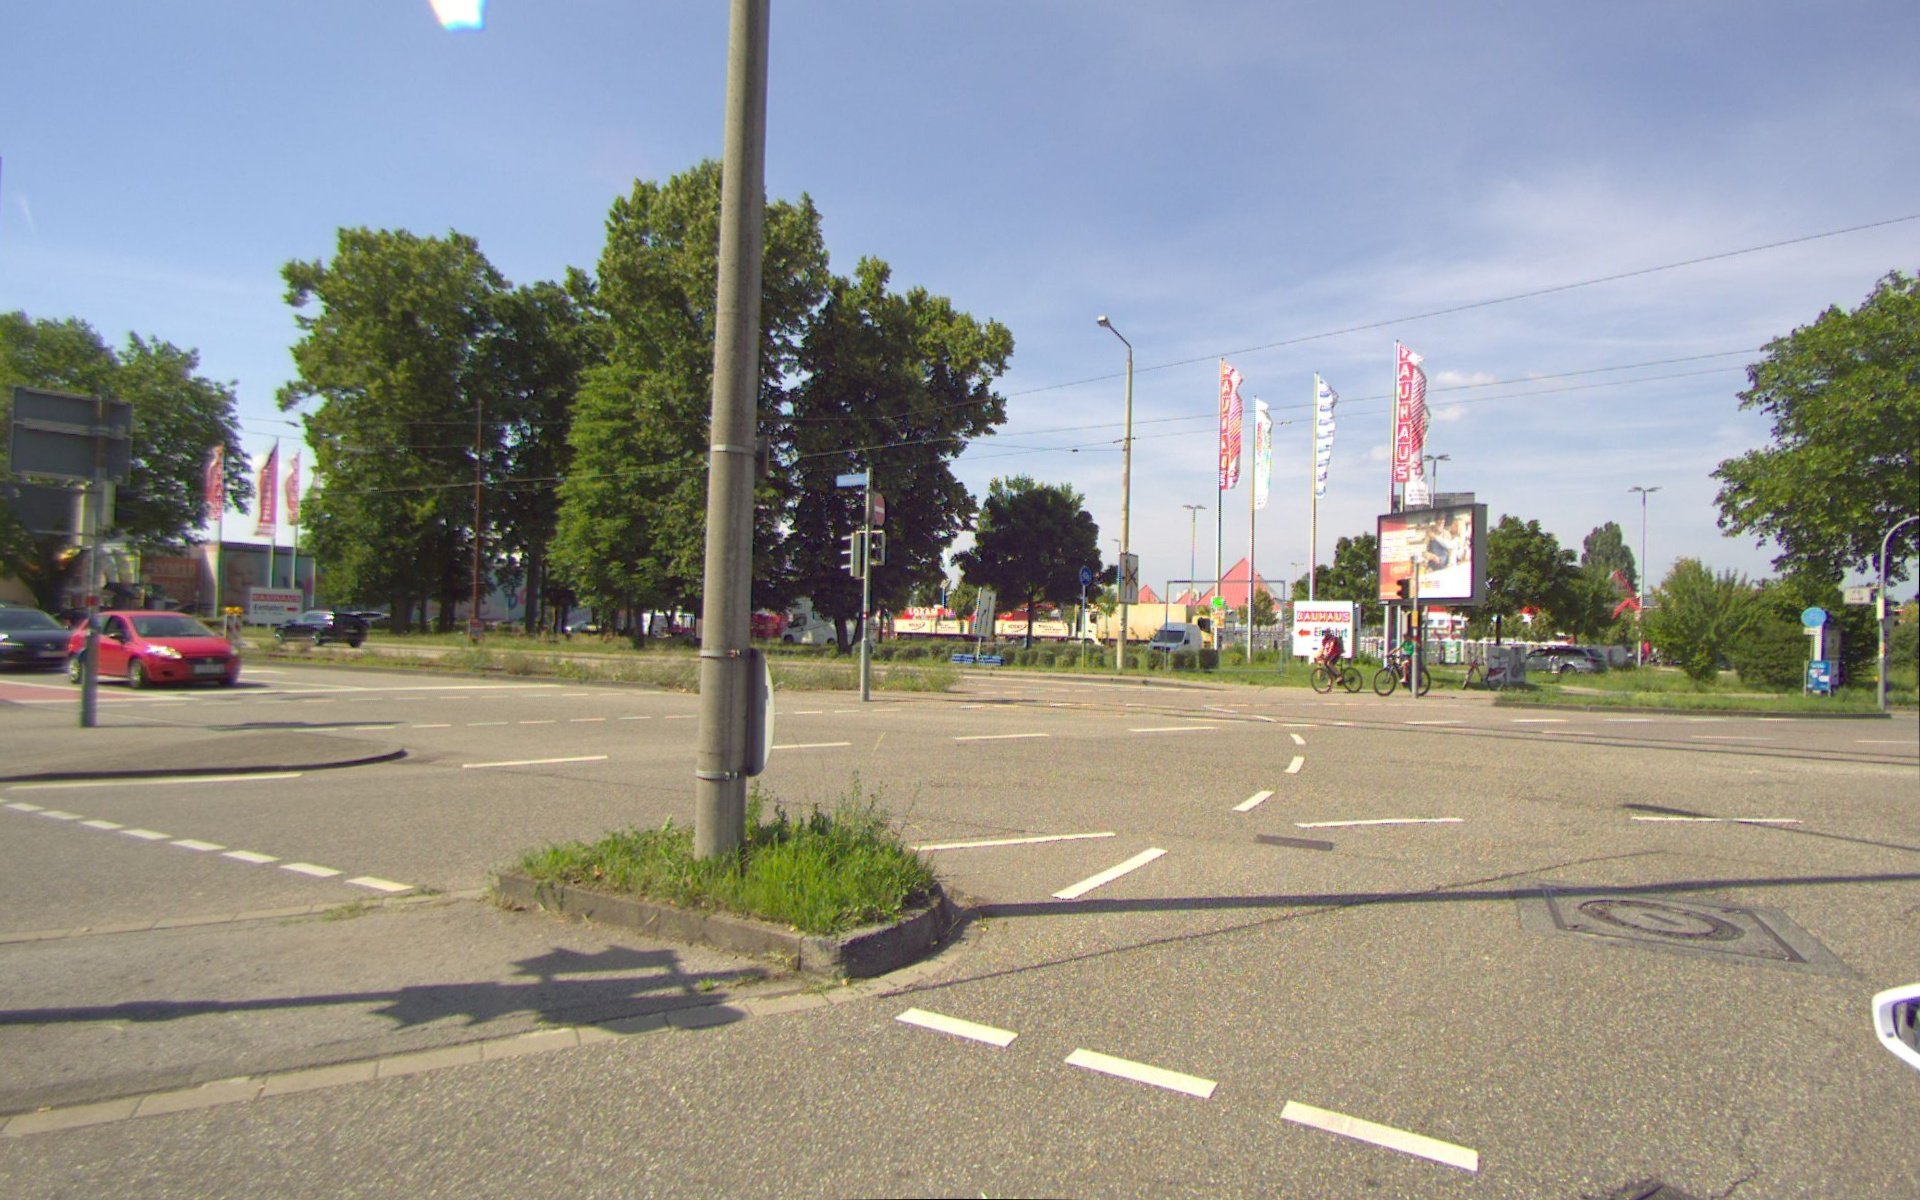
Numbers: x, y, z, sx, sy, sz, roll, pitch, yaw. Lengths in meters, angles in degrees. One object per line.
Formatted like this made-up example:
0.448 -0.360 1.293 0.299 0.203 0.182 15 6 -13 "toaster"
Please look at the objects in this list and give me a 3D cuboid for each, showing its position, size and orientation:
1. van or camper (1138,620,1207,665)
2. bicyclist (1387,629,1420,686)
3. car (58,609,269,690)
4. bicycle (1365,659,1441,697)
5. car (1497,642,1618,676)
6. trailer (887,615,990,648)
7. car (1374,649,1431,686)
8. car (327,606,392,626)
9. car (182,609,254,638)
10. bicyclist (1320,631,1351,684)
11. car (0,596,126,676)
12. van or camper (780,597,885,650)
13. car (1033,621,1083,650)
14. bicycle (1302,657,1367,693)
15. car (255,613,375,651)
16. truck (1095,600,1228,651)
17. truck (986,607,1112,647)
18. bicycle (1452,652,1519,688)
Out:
11.397 2.241 53.573 2.156 2.239 5.511 1 -2 28 "van or camper"
11.934 1.532 27.032 0.598 1.511 0.528 2 -1 -11 "bicyclist"
-16.126 0.960 20.330 3.926 1.468 1.845 0 -2 27 "car"
11.899 2.099 26.974 1.962 0.950 0.416 2 -1 -11 "bicycle"
28.663 2.819 48.333 2.179 1.432 4.533 2 -2 -34 "car"
-1.807 2.612 83.259 8.060 2.523 2.923 0 -2 28 "trailer"
21.595 3.278 49.209 2.157 1.593 4.578 1 -2 19 "car"
-50.301 1.364 84.234 1.841 1.585 4.375 1 -2 30 "car"
-54.964 1.750 74.439 1.973 2.040 3.975 0 -2 44 "car"
10.348 1.588 27.685 0.598 1.432 0.528 2 -1 -11 "bicyclist"
-21.959 0.803 23.501 3.921 1.721 2.000 1 -2 20 "car"
-8.263 1.493 64.954 6.209 3.141 2.708 1 -1 28 "van or camper"
9.230 3.361 93.964 2.346 2.562 6.116 0 -2 30 "car"
10.309 2.065 27.636 1.721 0.950 0.434 2 -1 -12 "bicycle"
-27.337 1.346 42.645 4.136 1.462 1.791 1 -1 10 "car"
14.352 1.770 71.507 8.757 3.355 3.158 1 -1 25 "truck"
6.969 2.109 78.884 9.434 2.930 2.924 1 -1 26 "truck"
15.941 2.126 30.482 1.863 1.051 0.594 2 -1 -14 "bicycle"
